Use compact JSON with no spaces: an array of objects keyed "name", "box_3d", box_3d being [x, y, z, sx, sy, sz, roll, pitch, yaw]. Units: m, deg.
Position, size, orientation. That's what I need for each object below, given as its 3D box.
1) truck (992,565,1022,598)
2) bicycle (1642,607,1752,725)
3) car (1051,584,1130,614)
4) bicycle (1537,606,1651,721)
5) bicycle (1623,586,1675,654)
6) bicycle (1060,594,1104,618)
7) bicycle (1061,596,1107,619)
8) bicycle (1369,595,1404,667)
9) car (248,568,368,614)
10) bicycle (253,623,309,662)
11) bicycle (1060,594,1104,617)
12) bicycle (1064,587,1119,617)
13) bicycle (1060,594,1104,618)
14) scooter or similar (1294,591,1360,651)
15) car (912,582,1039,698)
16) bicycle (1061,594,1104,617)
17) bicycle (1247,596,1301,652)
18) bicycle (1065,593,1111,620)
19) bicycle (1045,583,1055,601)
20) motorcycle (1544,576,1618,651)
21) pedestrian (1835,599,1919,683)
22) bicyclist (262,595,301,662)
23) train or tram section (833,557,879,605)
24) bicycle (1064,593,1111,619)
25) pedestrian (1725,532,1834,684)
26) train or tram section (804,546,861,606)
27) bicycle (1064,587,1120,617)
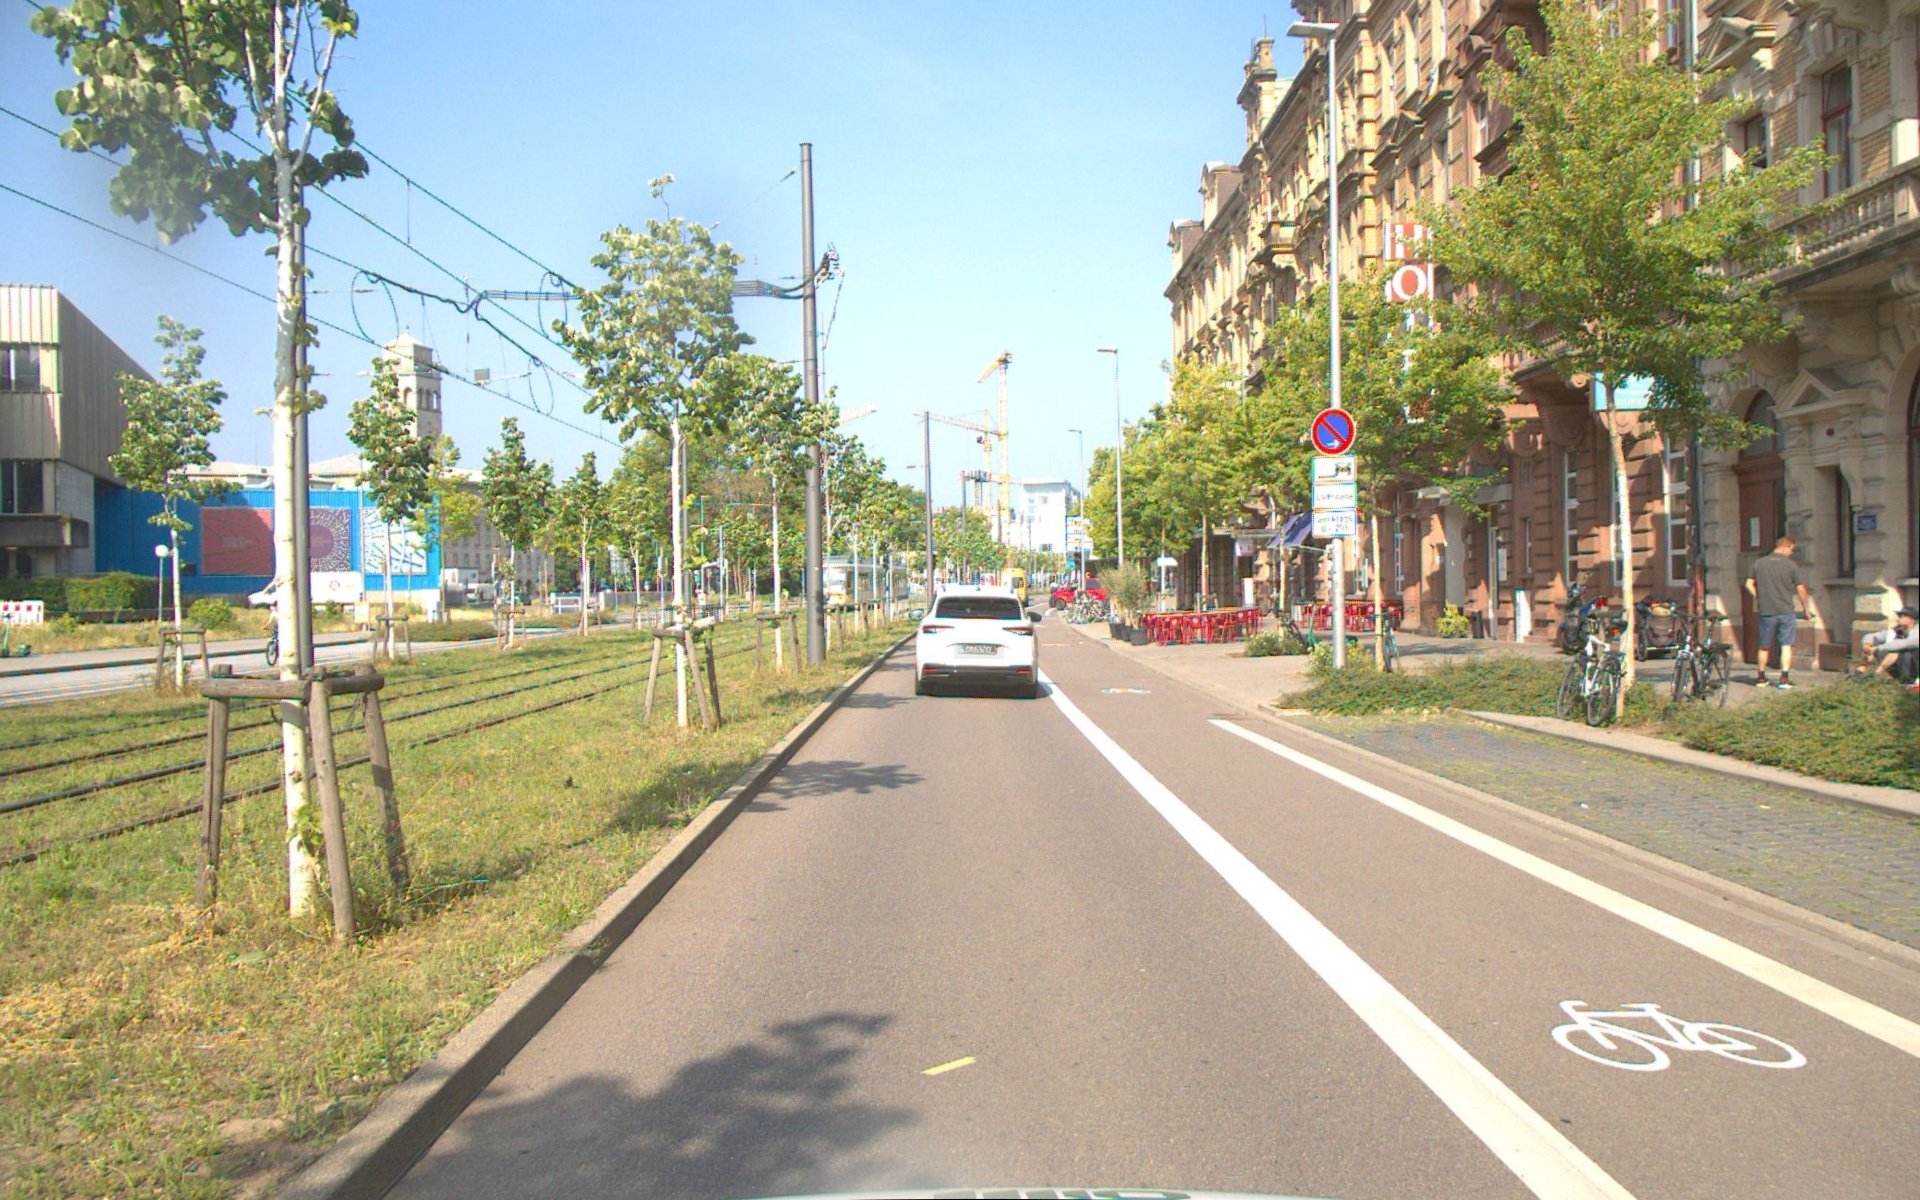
[{"name":"truck","box_3d":[3.489,-1.385,122.160,2.167,2.358,5.891,-1,1,2]},{"name":"bicycle","box_3d":[7.321,0.632,16.384,0.447,1.101,1.867,-2,-2,41]},{"name":"car","box_3d":[7.583,-0.046,96.510,4.288,1.713,1.989,0,1,41]},{"name":"bicycle","box_3d":[6.587,0.632,17.265,0.482,1.113,1.826,-1,0,0]},{"name":"bicycle","box_3d":[10.896,0.304,26.185,0.388,1.036,1.256,-1,0,5]},{"name":"bicycle","box_3d":[5.400,0.247,73.231,1.894,0.962,0.441,-3,0,4]},{"name":"bicycle","box_3d":[5.325,0.310,71.131,1.894,0.889,0.441,-3,0,1]},{"name":"bicycle","box_3d":[6.978,0.491,27.087,0.494,1.078,1.715,-3,1,14]},{"name":"car","box_3d":[-40.527,-0.545,103.017,6.776,2.684,2.498,2,0,-22]},{"name":"bicycle","box_3d":[-18.514,1.157,45.136,0.648,0.978,2.078,-2,0,0]},{"name":"bicycle","box_3d":[5.461,0.249,74.093,1.894,0.962,0.429,-3,0,4]},{"name":"bicycle","box_3d":[5.444,0.077,68.534,2.193,1.123,0.519,-3,0,1]},{"name":"bicycle","box_3d":[5.432,0.248,73.710,1.894,0.962,0.441,-3,0,4]},{"name":"scooter or similar","box_3d":[7.556,0.431,34.058,1.230,1.177,0.340,-3,0,4]},{"name":"car","box_3d":[0.215,0.545,25.395,1.780,1.617,4.406,0,0,0]},{"name":"bicycle","box_3d":[5.507,0.251,74.535,1.894,0.962,0.429,-3,0,4]},{"name":"bicycle","box_3d":[6.689,0.496,35.282,0.584,1.142,1.923,-1,0,-6]},{"name":"bicycle","box_3d":[5.364,0.264,69.340,1.894,1.003,0.471,-3,0,1]},{"name":"bicycle","box_3d":[7.577,-0.699,139.447,0.765,1.522,2.801,-1,1,1]},{"name":"motorcycle","box_3d":[10.448,0.212,27.879,0.454,1.196,1.945,-3,0,0]},{"name":"pedestrian","box_3d":[10.695,0.463,19.002,0.860,0.892,0.710,-3,0,-4]},{"name":"bicyclist","box_3d":[-18.534,0.768,45.178,0.634,1.766,0.918,-2,0,0]},{"name":"train or tram section","box_3d":[-8.329,-1.488,134.250,2.839,3.649,12.225,-1,0,0]},{"name":"bicycle","box_3d":[5.390,0.265,69.819,1.915,1.003,0.471,-3,0,1]},{"name":"pedestrian","box_3d":[9.723,0.085,19.643,0.807,1.726,0.792,-3,0,-4]},{"name":"train or tram section","box_3d":[-8.302,-1.513,109.077,2.839,3.649,12.475,-1,0,-1]},{"name":"bicycle","box_3d":[5.419,0.075,67.979,2.193,1.123,0.588,-3,0,1]}]
